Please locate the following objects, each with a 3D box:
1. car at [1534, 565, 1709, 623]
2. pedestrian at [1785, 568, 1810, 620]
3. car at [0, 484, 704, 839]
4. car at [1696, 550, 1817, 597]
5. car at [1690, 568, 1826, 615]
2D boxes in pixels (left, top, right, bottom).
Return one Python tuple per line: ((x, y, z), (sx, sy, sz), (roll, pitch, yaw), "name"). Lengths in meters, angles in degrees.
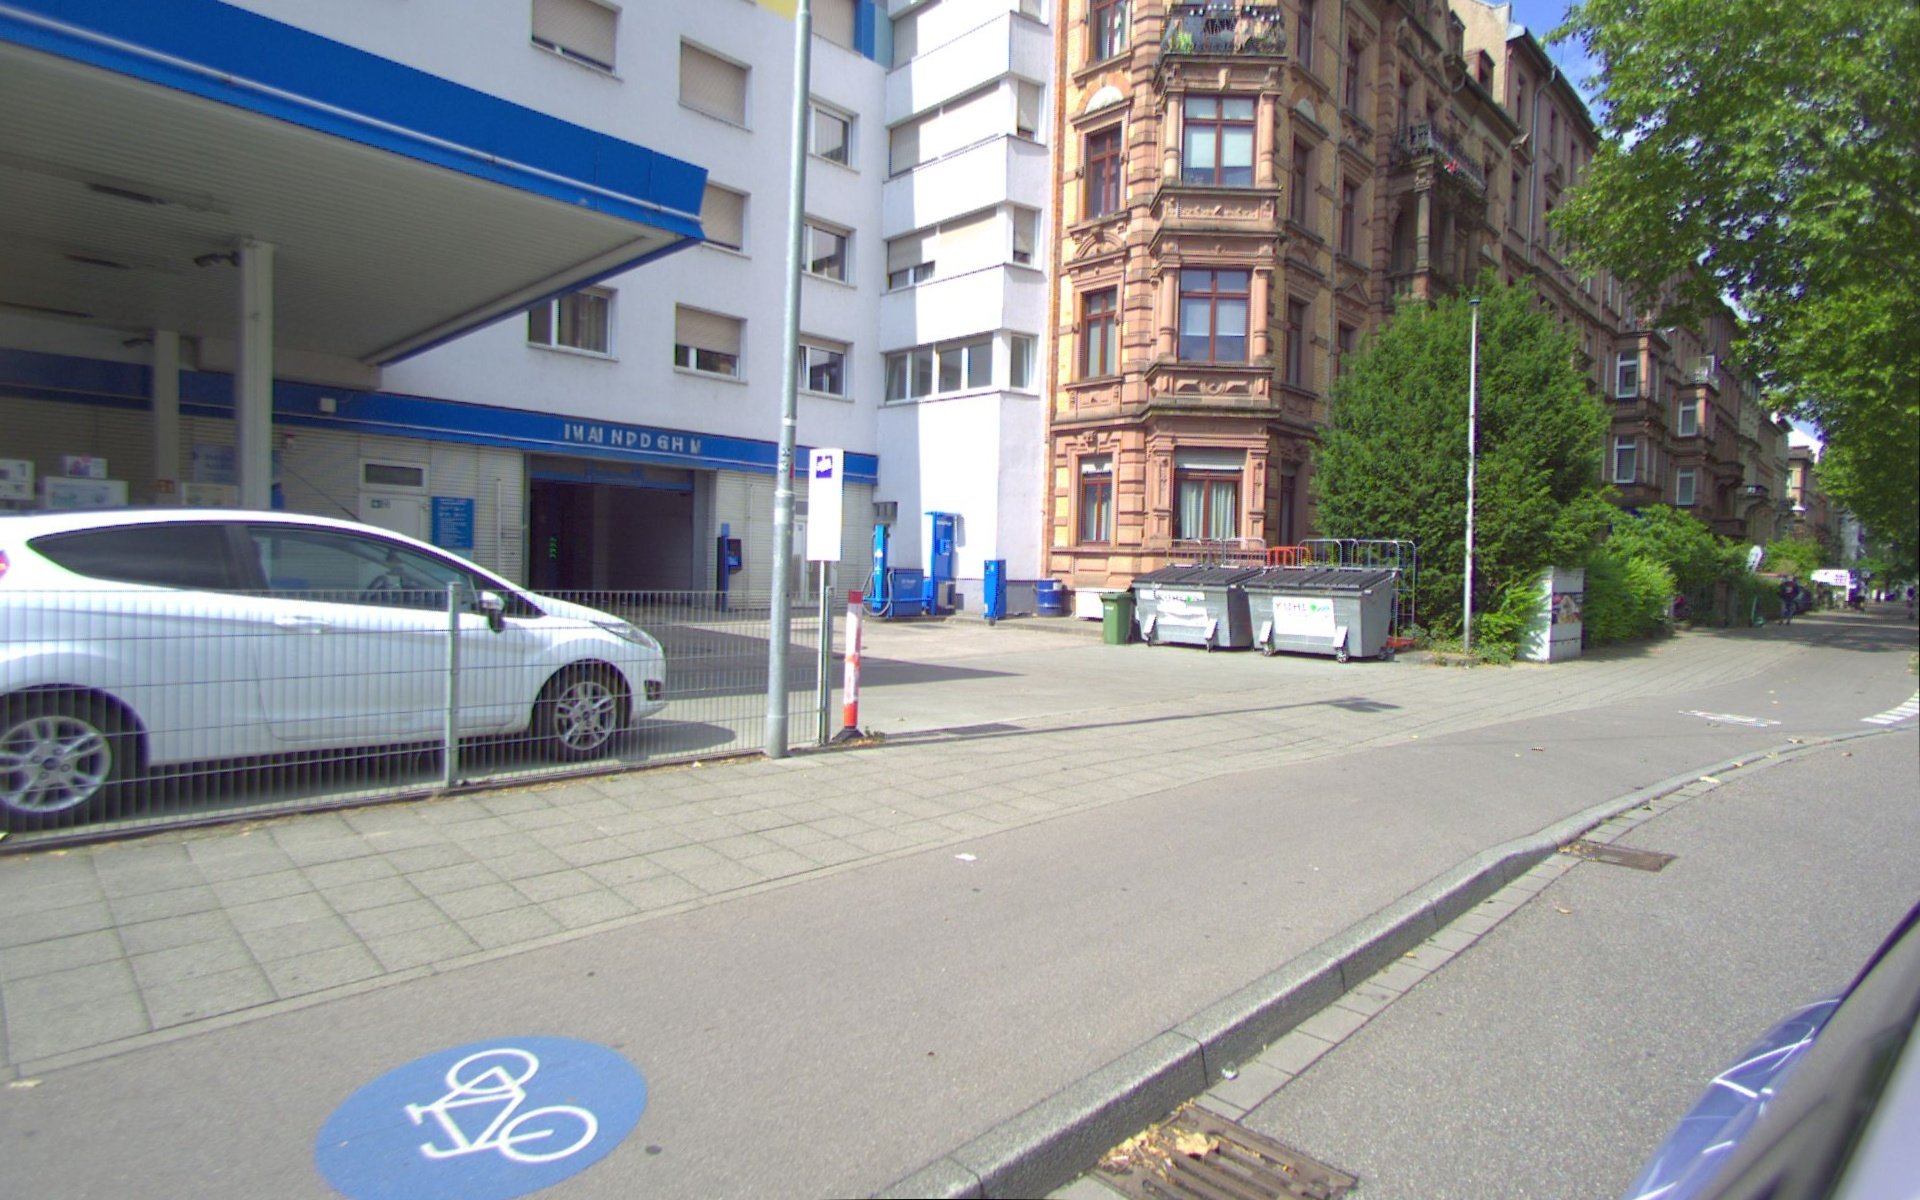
((20.666, -0.229, 31.715), (1.910, 1.487, 4.239), (-1, 4, -44), "car")
((29.594, -0.219, 35.746), (0.564, 1.808, 0.620), (3, 2, 45), "pedestrian")
((-3.681, 0.217, 5.814), (1.806, 1.473, 3.937), (2, 2, 44), "car")
((39.835, -1.358, 50.699), (1.950, 1.962, 4.405), (0, 5, -43), "car")
((36.098, -0.419, 45.949), (4.712, 1.804, 1.978), (4, 3, 38), "car")
